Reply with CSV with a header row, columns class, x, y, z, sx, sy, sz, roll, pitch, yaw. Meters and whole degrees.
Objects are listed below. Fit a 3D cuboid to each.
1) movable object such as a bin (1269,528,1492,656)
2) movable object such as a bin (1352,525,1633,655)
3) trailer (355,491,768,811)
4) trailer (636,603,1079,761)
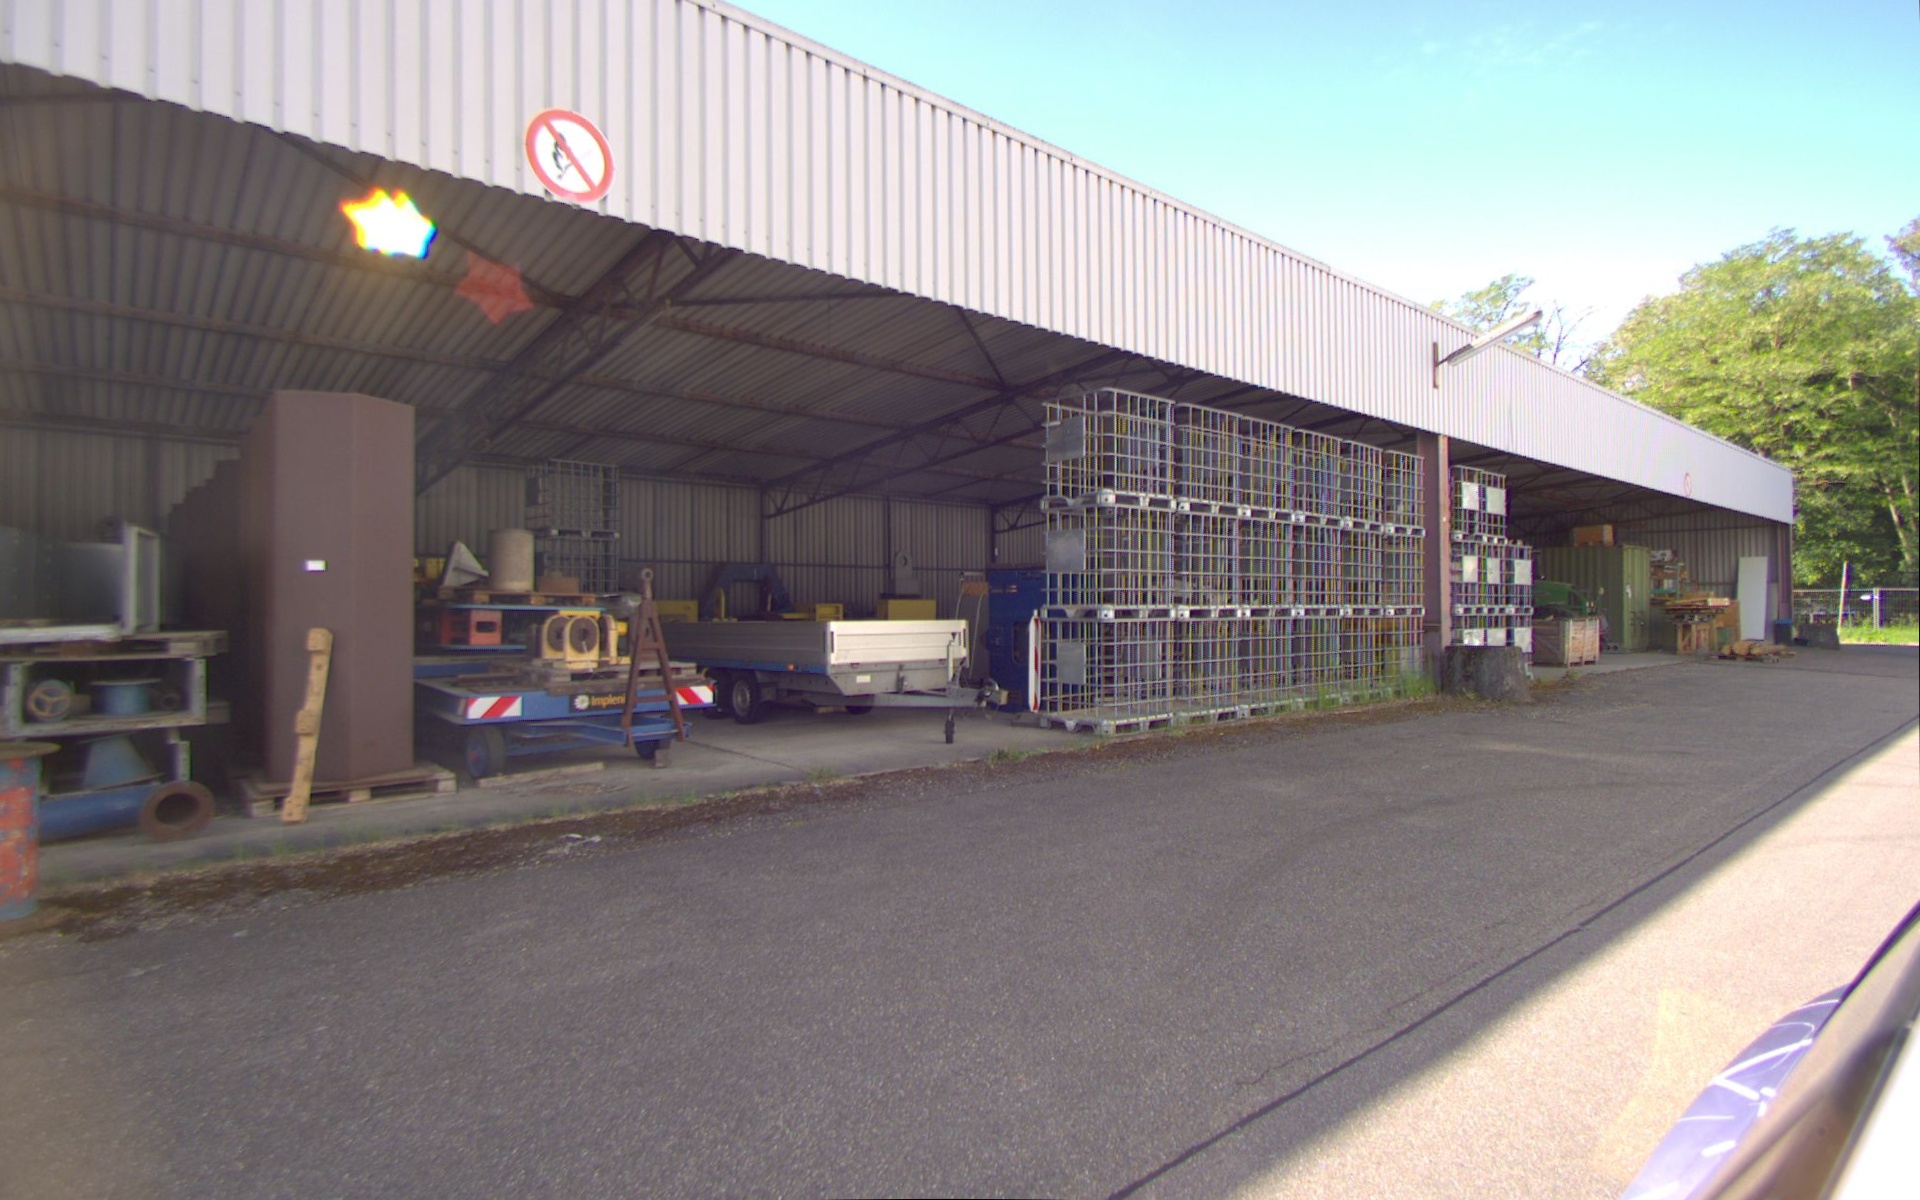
class,x,y,z,sx,sy,sz,roll,pitch,yaw
movable object such as a bin,10.358,-0.169,25.195,2.453,2.867,4.535,1,-1,-40
movable object such as a bin,13.644,-0.222,26.288,2.770,2.962,5.845,0,0,-40
trailer,-3.662,0.281,8.762,2.124,2.015,4.433,-1,1,-39
trailer,-1.464,0.695,11.240,1.940,1.200,5.737,-1,1,-41
